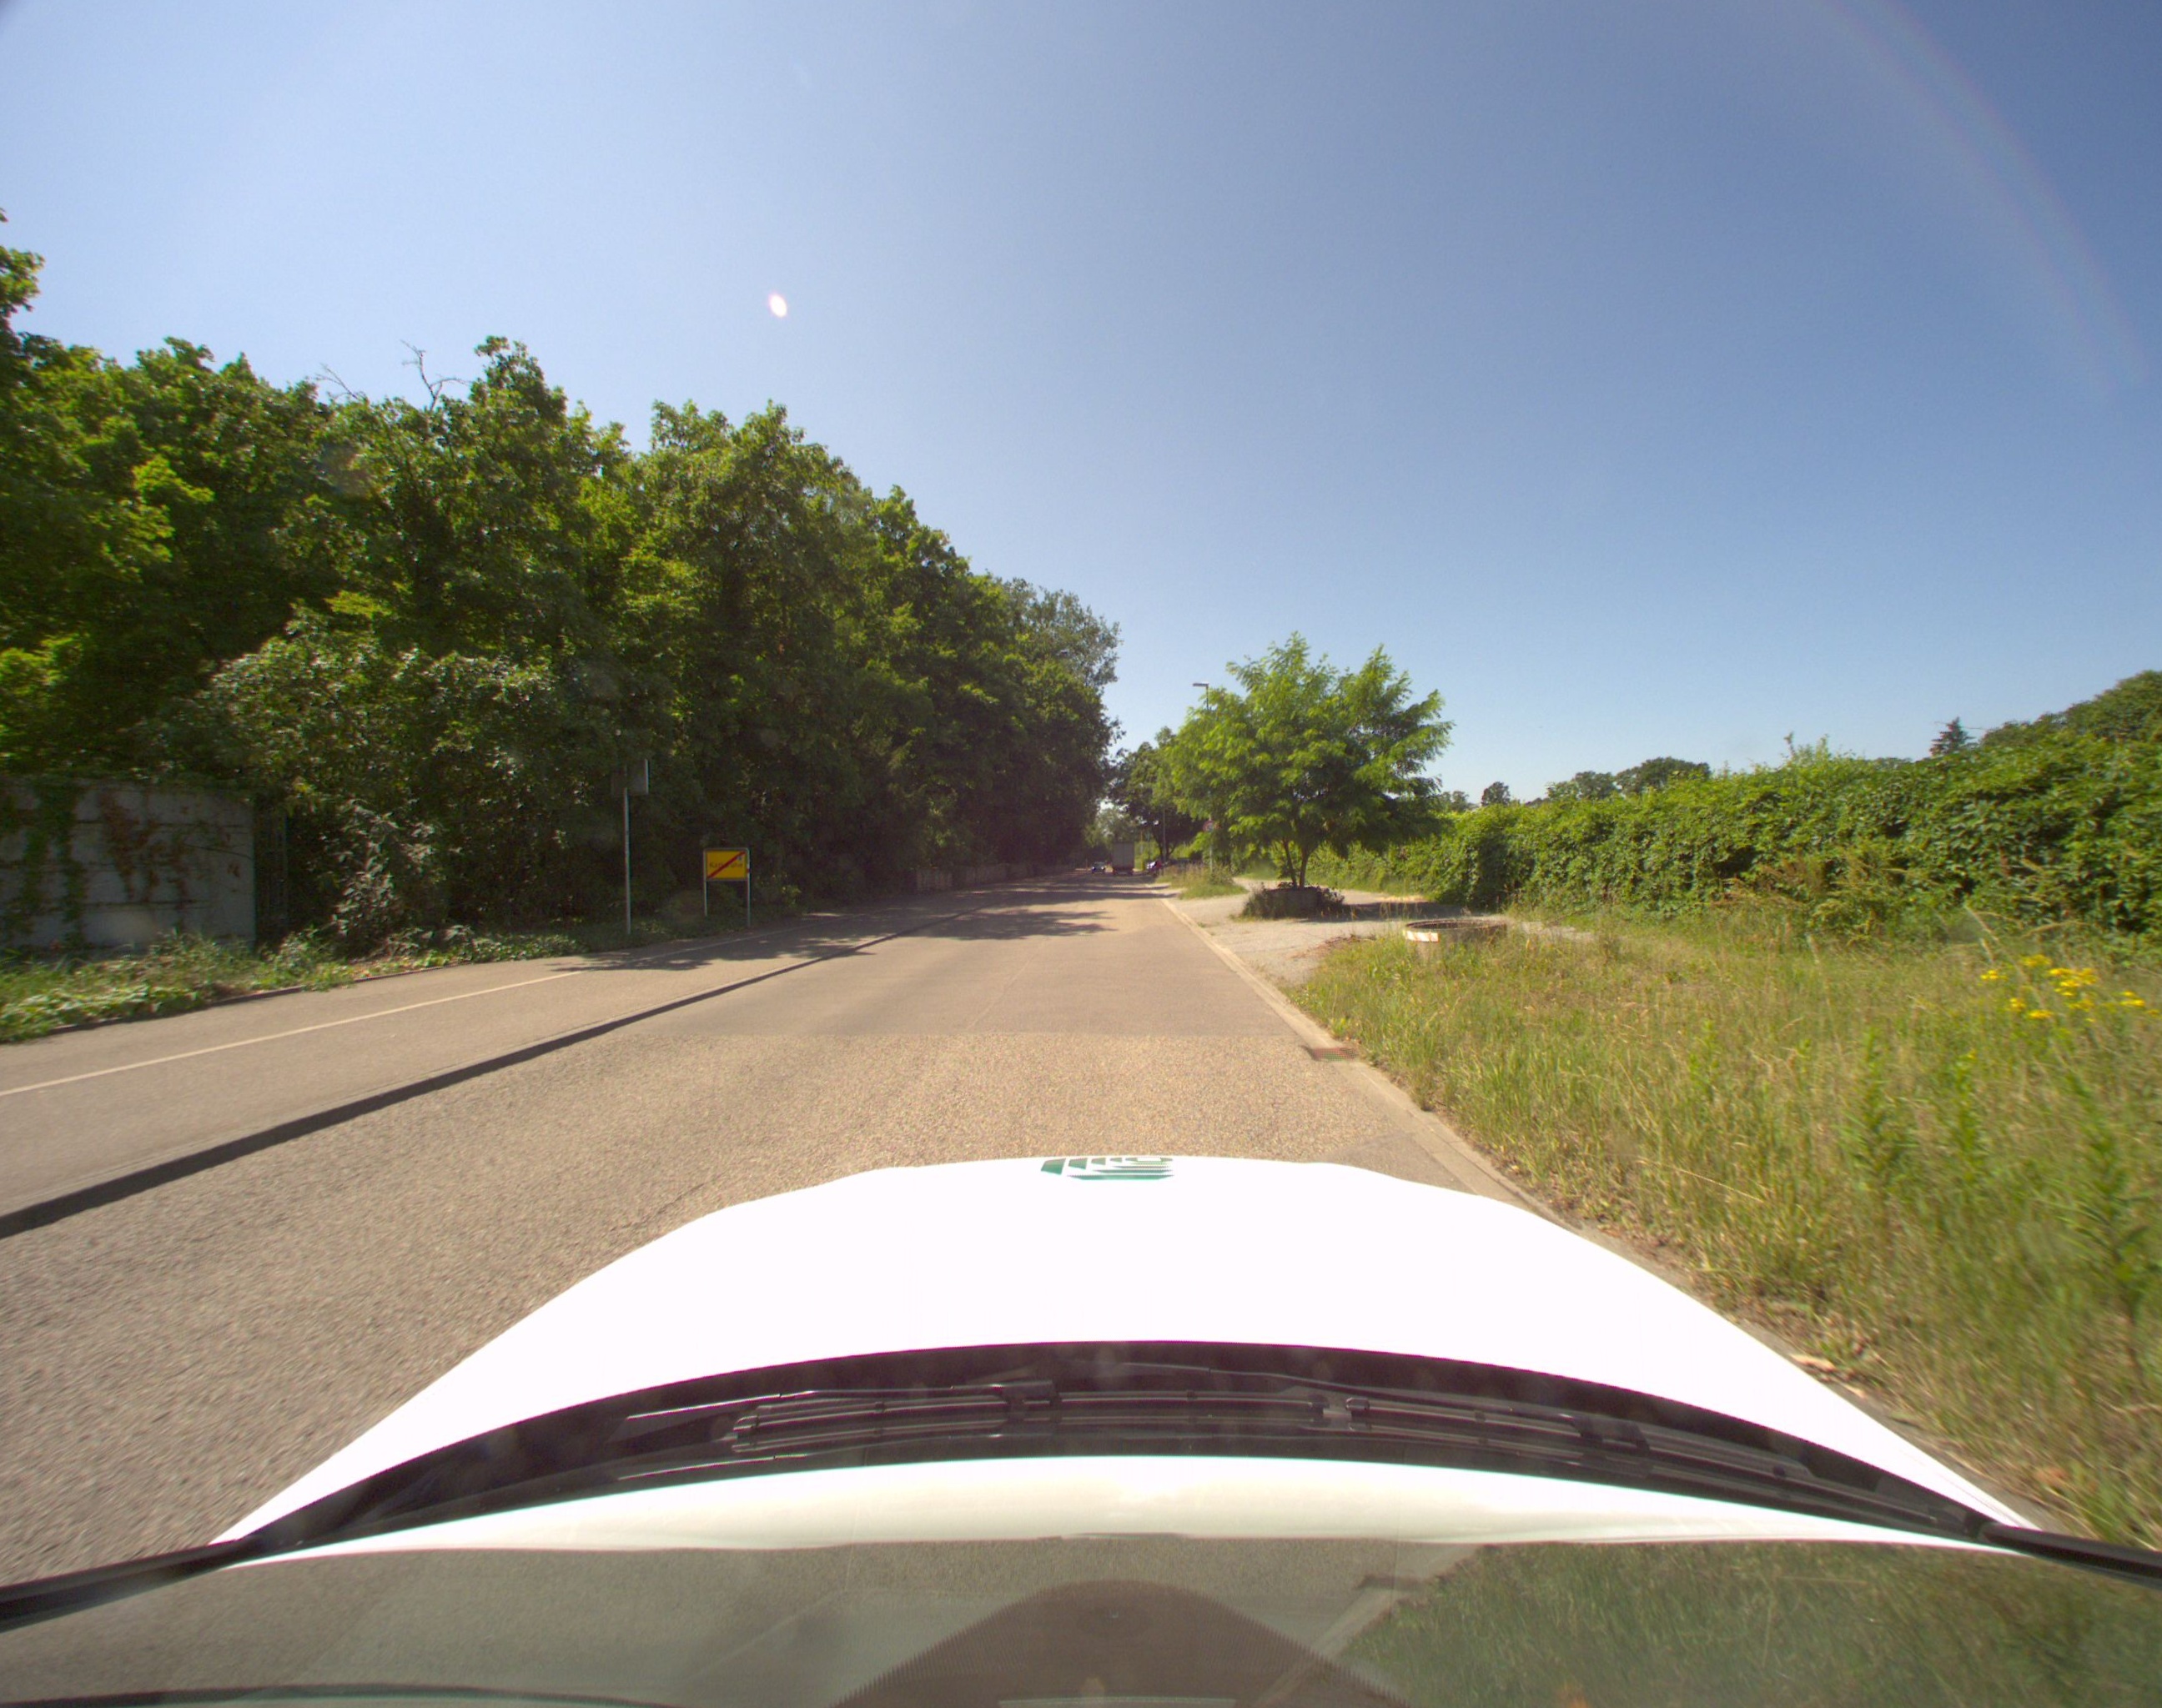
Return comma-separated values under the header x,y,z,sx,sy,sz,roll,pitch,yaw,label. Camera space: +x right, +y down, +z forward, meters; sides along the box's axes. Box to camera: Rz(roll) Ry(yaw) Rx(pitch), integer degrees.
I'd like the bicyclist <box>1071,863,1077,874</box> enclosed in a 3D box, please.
x,y,z,sx,sy,sz,roll,pitch,yaw,label
-1.146,2.319,129.524,0.828,1.716,0.958,-3,0,3,bicyclist

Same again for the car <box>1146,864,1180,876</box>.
x,y,z,sx,sy,sz,roll,pitch,yaw,label
10.477,2.031,103.810,4.178,1.445,1.740,-2,-1,3,car

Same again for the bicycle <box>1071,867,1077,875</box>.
x,y,z,sx,sy,sz,roll,pitch,yaw,label
-1.128,2.694,129.540,0.715,1.159,2.232,-3,0,3,bicycle

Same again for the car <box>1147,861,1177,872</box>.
x,y,z,sx,sy,sz,roll,pitch,yaw,label
11.738,1.786,117.627,4.178,1.445,1.740,-3,0,3,car

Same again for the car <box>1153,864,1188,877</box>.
x,y,z,sx,sy,sz,roll,pitch,yaw,label
10.871,2.019,99.436,4.178,1.445,1.740,-2,-1,3,car

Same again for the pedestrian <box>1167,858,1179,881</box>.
x,y,z,sx,sy,sz,roll,pitch,yaw,label
7.056,1.195,62.316,0.736,1.738,0.886,-3,0,1,pedestrian

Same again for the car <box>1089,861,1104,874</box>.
x,y,z,sx,sy,sz,roll,pitch,yaw,label
2.216,1.952,115.308,1.985,1.684,4.266,-3,0,3,car

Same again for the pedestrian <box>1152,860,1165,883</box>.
x,y,z,sx,sy,sz,roll,pitch,yaw,label
5.823,1.342,61.204,0.860,1.677,0.886,-3,0,1,pedestrian

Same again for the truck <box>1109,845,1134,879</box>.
x,y,z,sx,sy,sz,roll,pitch,yaw,label
4.958,0.895,98.105,2.722,3.745,13.256,-1,0,3,truck
